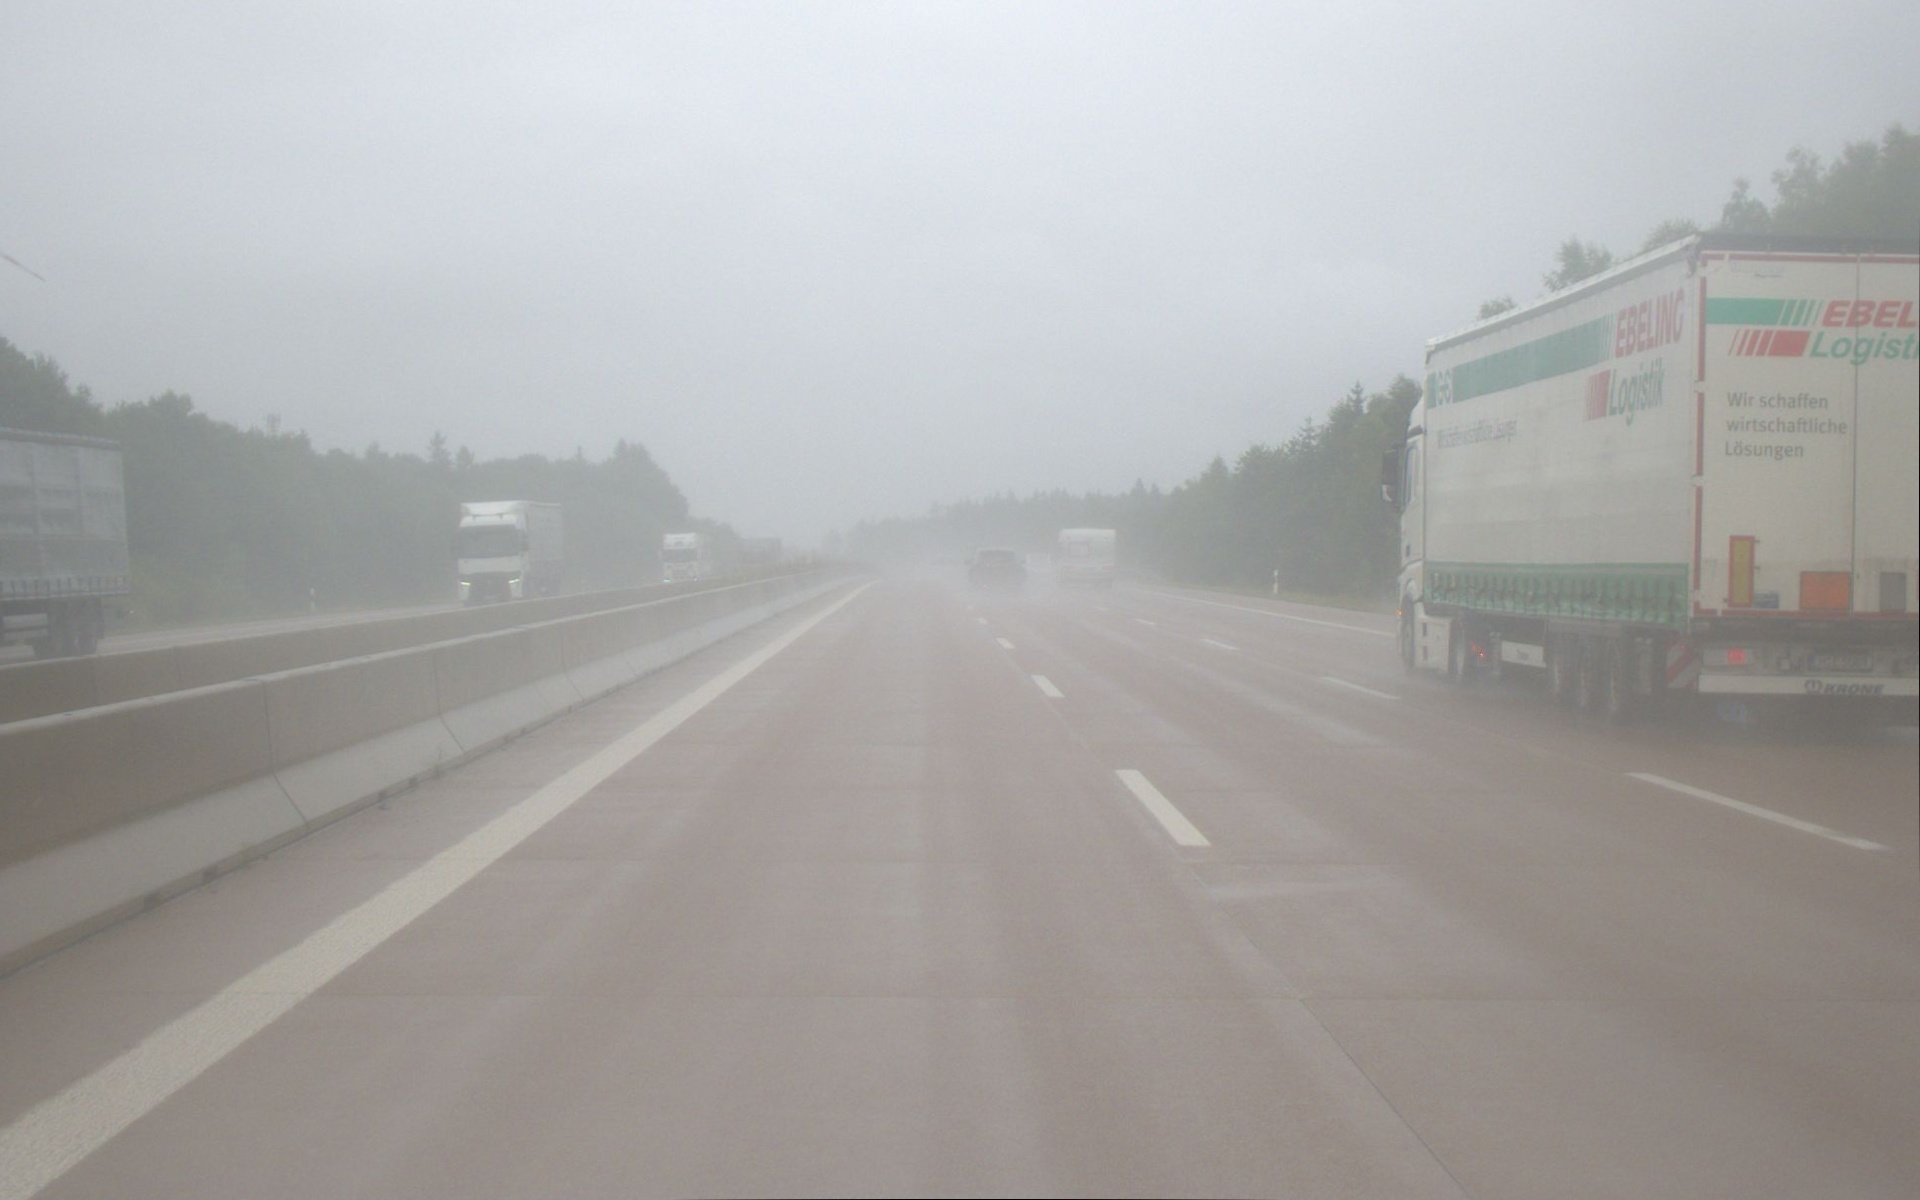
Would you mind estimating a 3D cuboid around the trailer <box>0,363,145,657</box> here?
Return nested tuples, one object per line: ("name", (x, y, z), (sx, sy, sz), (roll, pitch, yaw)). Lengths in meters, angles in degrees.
("trailer", (-17.557, -1.447, 60.520), (3.430, 4.850, 12.446), (-3, 1, -1))

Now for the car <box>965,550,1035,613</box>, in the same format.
("car", (1.290, -0.633, 113.047), (2.173, 1.974, 4.130), (-2, 1, 0))

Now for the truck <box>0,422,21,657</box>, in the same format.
("truck", (-17.475, -0.897, 53.819), (3.472, 3.875, 7.464), (-3, 1, -1))

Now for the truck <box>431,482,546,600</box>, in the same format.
("truck", (-18.060, -2.252, 132.135), (3.419, 4.345, 7.948), (1, 0, -1))

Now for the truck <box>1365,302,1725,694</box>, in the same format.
("truck", (6.587, -1.159, 39.654), (2.880, 4.092, 6.350), (-1, 1, -1))

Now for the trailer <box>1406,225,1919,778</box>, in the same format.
("trailer", (6.755, -0.934, 33.116), (2.852, 4.217, 13.133), (-1, 1, -1))
